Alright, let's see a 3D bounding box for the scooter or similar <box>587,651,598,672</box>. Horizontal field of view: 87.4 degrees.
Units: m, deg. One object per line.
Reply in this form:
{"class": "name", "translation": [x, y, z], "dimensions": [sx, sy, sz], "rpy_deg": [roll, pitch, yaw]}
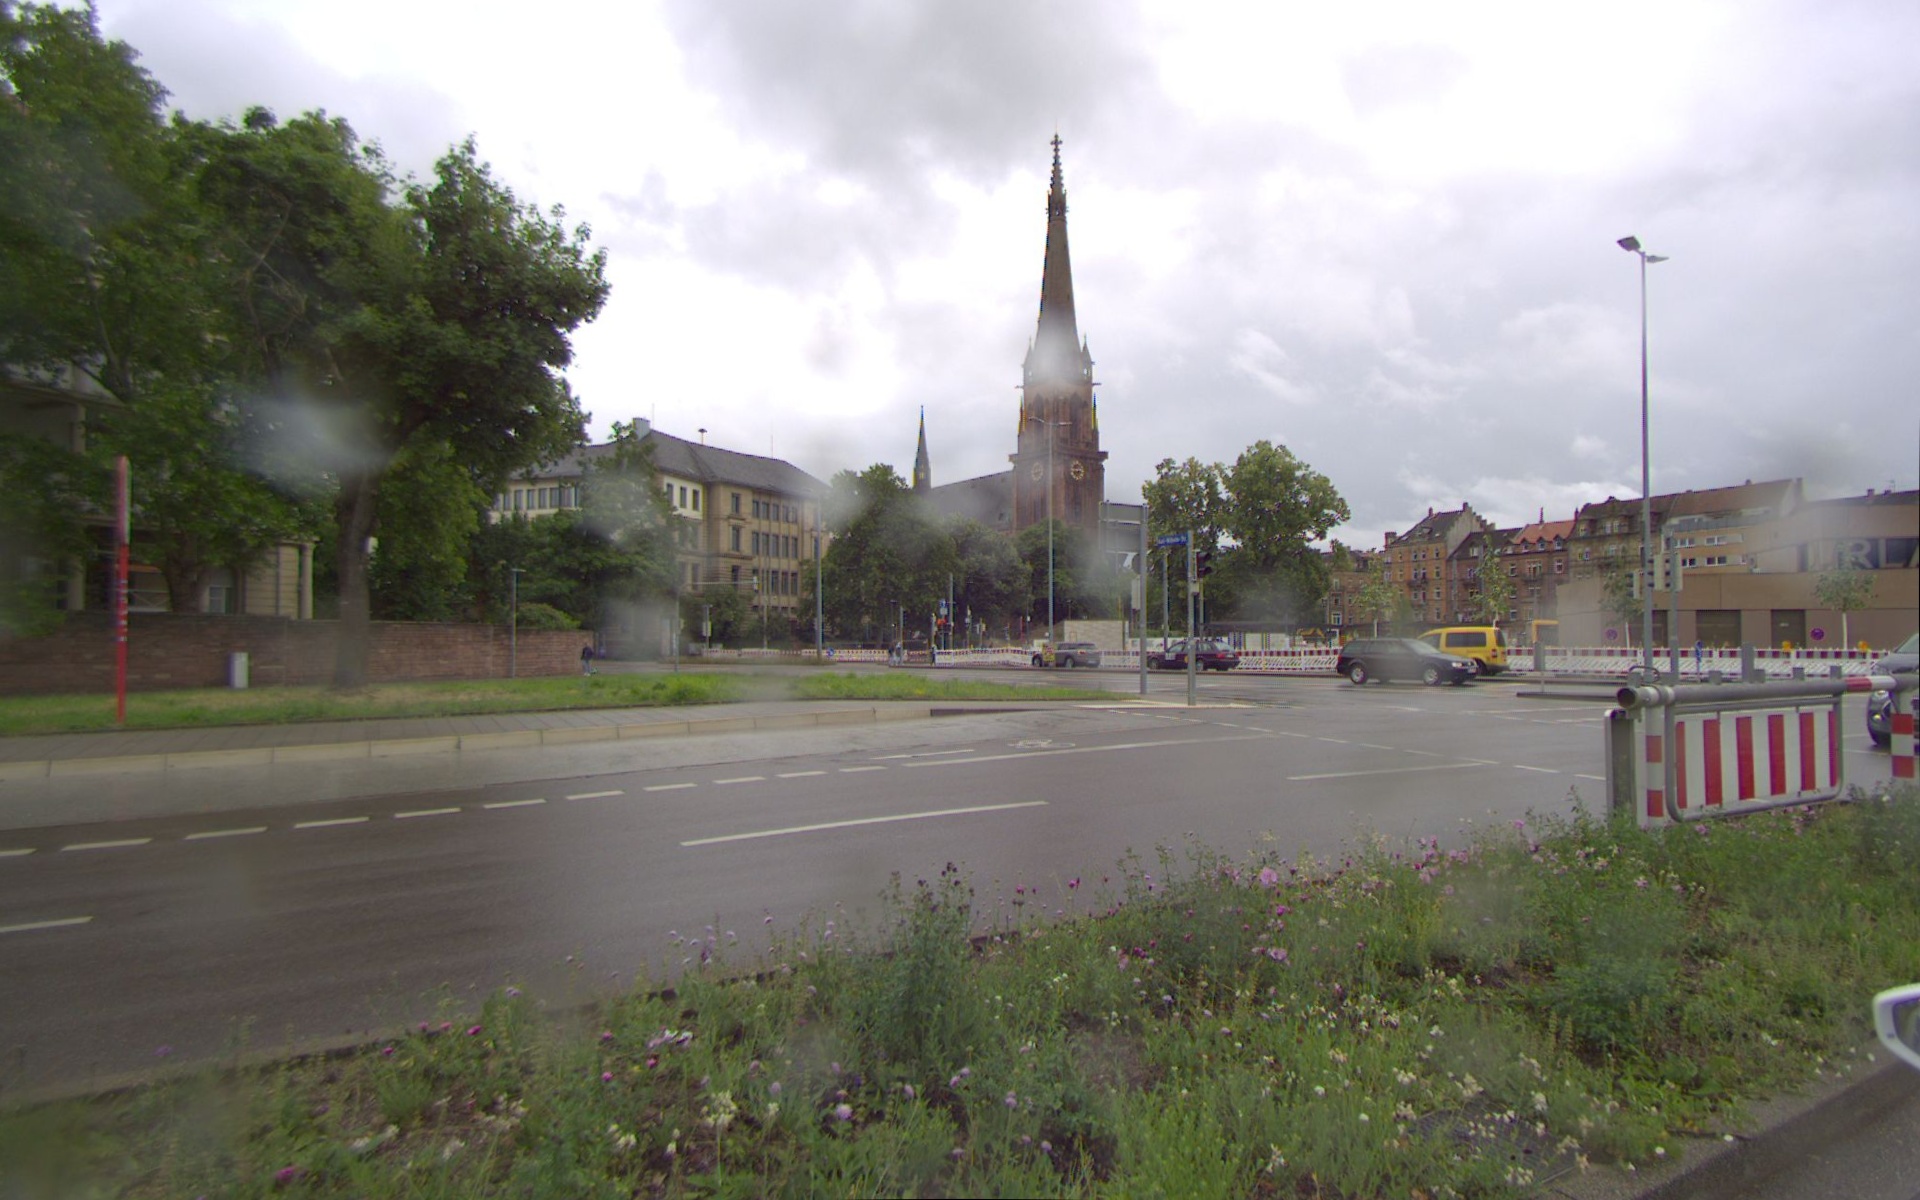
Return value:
{"class": "scooter or similar", "translation": [-19.375, 3.247, 52.982], "dimensions": [0.274, 1.096, 1.078], "rpy_deg": [0, -2, -4]}

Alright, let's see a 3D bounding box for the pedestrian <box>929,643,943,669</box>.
{"class": "pedestrian", "translation": [-1.685, 3.862, 69.865], "dimensions": [0.765, 1.801, 0.720], "rpy_deg": [1, -2, -30]}

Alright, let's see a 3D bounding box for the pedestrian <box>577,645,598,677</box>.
{"class": "pedestrian", "translation": [-17.775, 2.893, 47.933], "dimensions": [0.662, 1.520, 0.774], "rpy_deg": [0, -2, 0]}

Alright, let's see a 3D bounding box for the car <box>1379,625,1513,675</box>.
{"class": "car", "translation": [17.564, 1.783, 36.413], "dimensions": [4.094, 1.728, 1.701], "rpy_deg": [-2, -3, 43]}

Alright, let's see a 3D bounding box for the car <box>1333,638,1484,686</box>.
{"class": "car", "translation": [14.186, 1.917, 31.985], "dimensions": [1.602, 1.420, 4.163], "rpy_deg": [1, -2, -36]}

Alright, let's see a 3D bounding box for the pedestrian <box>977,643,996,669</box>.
{"class": "pedestrian", "translation": [2.079, 4.444, 79.702], "dimensions": [0.981, 2.040, 1.305], "rpy_deg": [-1, -2, 34]}

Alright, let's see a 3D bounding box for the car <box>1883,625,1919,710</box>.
{"class": "car", "translation": [21.458, 1.384, 20.955], "dimensions": [4.709, 1.700, 1.765], "rpy_deg": [1, -2, -28]}

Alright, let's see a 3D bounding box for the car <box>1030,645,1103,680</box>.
{"class": "car", "translation": [5.533, 3.222, 52.624], "dimensions": [1.695, 1.728, 3.780], "rpy_deg": [1, -2, -37]}

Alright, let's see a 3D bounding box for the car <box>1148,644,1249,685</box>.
{"class": "car", "translation": [10.749, 2.861, 45.577], "dimensions": [1.695, 1.728, 4.414], "rpy_deg": [1, -2, -37]}

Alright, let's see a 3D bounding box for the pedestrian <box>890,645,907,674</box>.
{"class": "pedestrian", "translation": [-4.440, 4.273, 72.144], "dimensions": [0.945, 2.040, 0.852], "rpy_deg": [1, -2, -30]}

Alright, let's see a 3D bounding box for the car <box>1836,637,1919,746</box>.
{"class": "car", "translation": [14.155, 1.174, 13.753], "dimensions": [4.065, 1.394, 1.767], "rpy_deg": [0, -4, -26]}

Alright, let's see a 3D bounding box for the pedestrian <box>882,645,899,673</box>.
{"class": "pedestrian", "translation": [-5.045, 4.276, 72.949], "dimensions": [0.945, 2.040, 0.852], "rpy_deg": [1, -2, -30]}
